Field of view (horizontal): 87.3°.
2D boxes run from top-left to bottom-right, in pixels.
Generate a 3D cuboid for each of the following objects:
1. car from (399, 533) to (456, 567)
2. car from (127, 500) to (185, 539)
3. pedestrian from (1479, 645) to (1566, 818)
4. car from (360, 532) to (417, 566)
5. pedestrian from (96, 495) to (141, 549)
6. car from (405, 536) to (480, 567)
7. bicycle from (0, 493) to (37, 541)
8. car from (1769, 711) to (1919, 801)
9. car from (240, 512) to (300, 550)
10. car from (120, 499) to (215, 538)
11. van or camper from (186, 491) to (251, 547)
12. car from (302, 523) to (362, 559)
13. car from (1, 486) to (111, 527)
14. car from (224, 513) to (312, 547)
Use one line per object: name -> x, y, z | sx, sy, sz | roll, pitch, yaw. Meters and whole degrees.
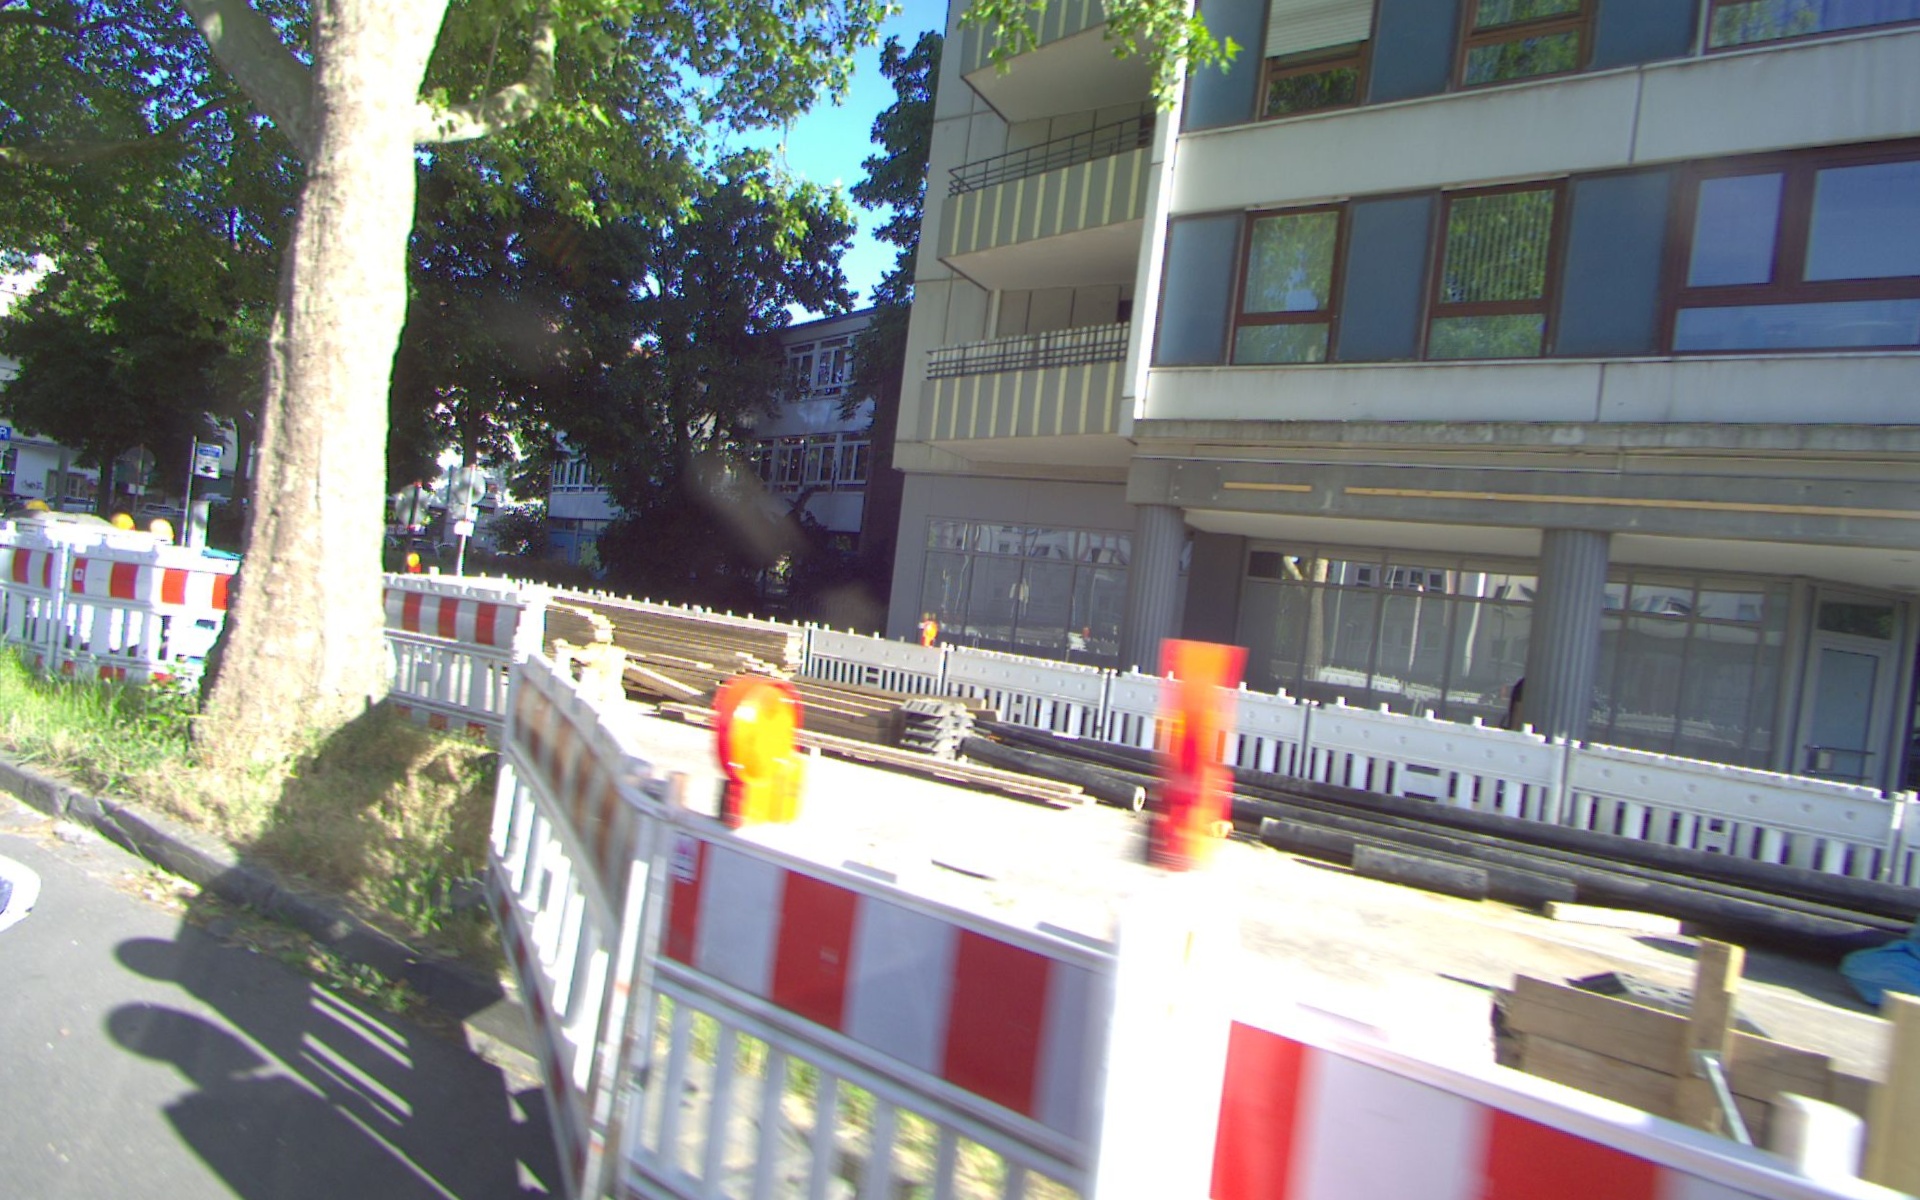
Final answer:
car -> -33.177, -3.115, 62.632 | 1.987, 1.648, 4.336 | 7, 0, -43
car -> -42.585, -4.280, 53.250 | 1.987, 1.648, 4.336 | 7, 0, -43
pedestrian -> 6.477, 1.486, 11.573 | 0.654, 1.837, 0.691 | 7, 0, 31
car -> -34.754, -3.133, 61.132 | 1.987, 1.648, 4.336 | 7, 0, -43
pedestrian -> -27.609, -2.554, 32.990 | 1.018, 1.636, 0.733 | 7, 1, 32
car -> -37.378, -3.509, 72.686 | 4.367, 1.555, 1.976 | 8, -1, -43
bicycle -> -28.331, -2.502, 29.458 | 0.946, 1.279, 1.607 | 7, 0, 27
car -> 22.750, 3.900, 24.385 | 4.420, 1.657, 2.152 | 7, 0, 30
car -> -38.844, -3.894, 56.574 | 1.987, 1.690, 4.687 | 7, 0, -43
car -> -48.633, -4.967, 61.811 | 4.367, 1.664, 1.976 | 8, -1, -43
van or camper -> -40.648, -4.460, 55.086 | 2.139, 2.668, 5.521 | 7, 0, -42
car -> -36.895, -3.472, 59.052 | 1.987, 1.690, 4.687 | 7, 0, -43
car -> -52.415, -5.390, 58.423 | 4.573, 1.600, 1.976 | 8, -1, -43
car -> -44.877, -4.528, 65.285 | 4.367, 1.555, 1.976 | 8, -1, -43
